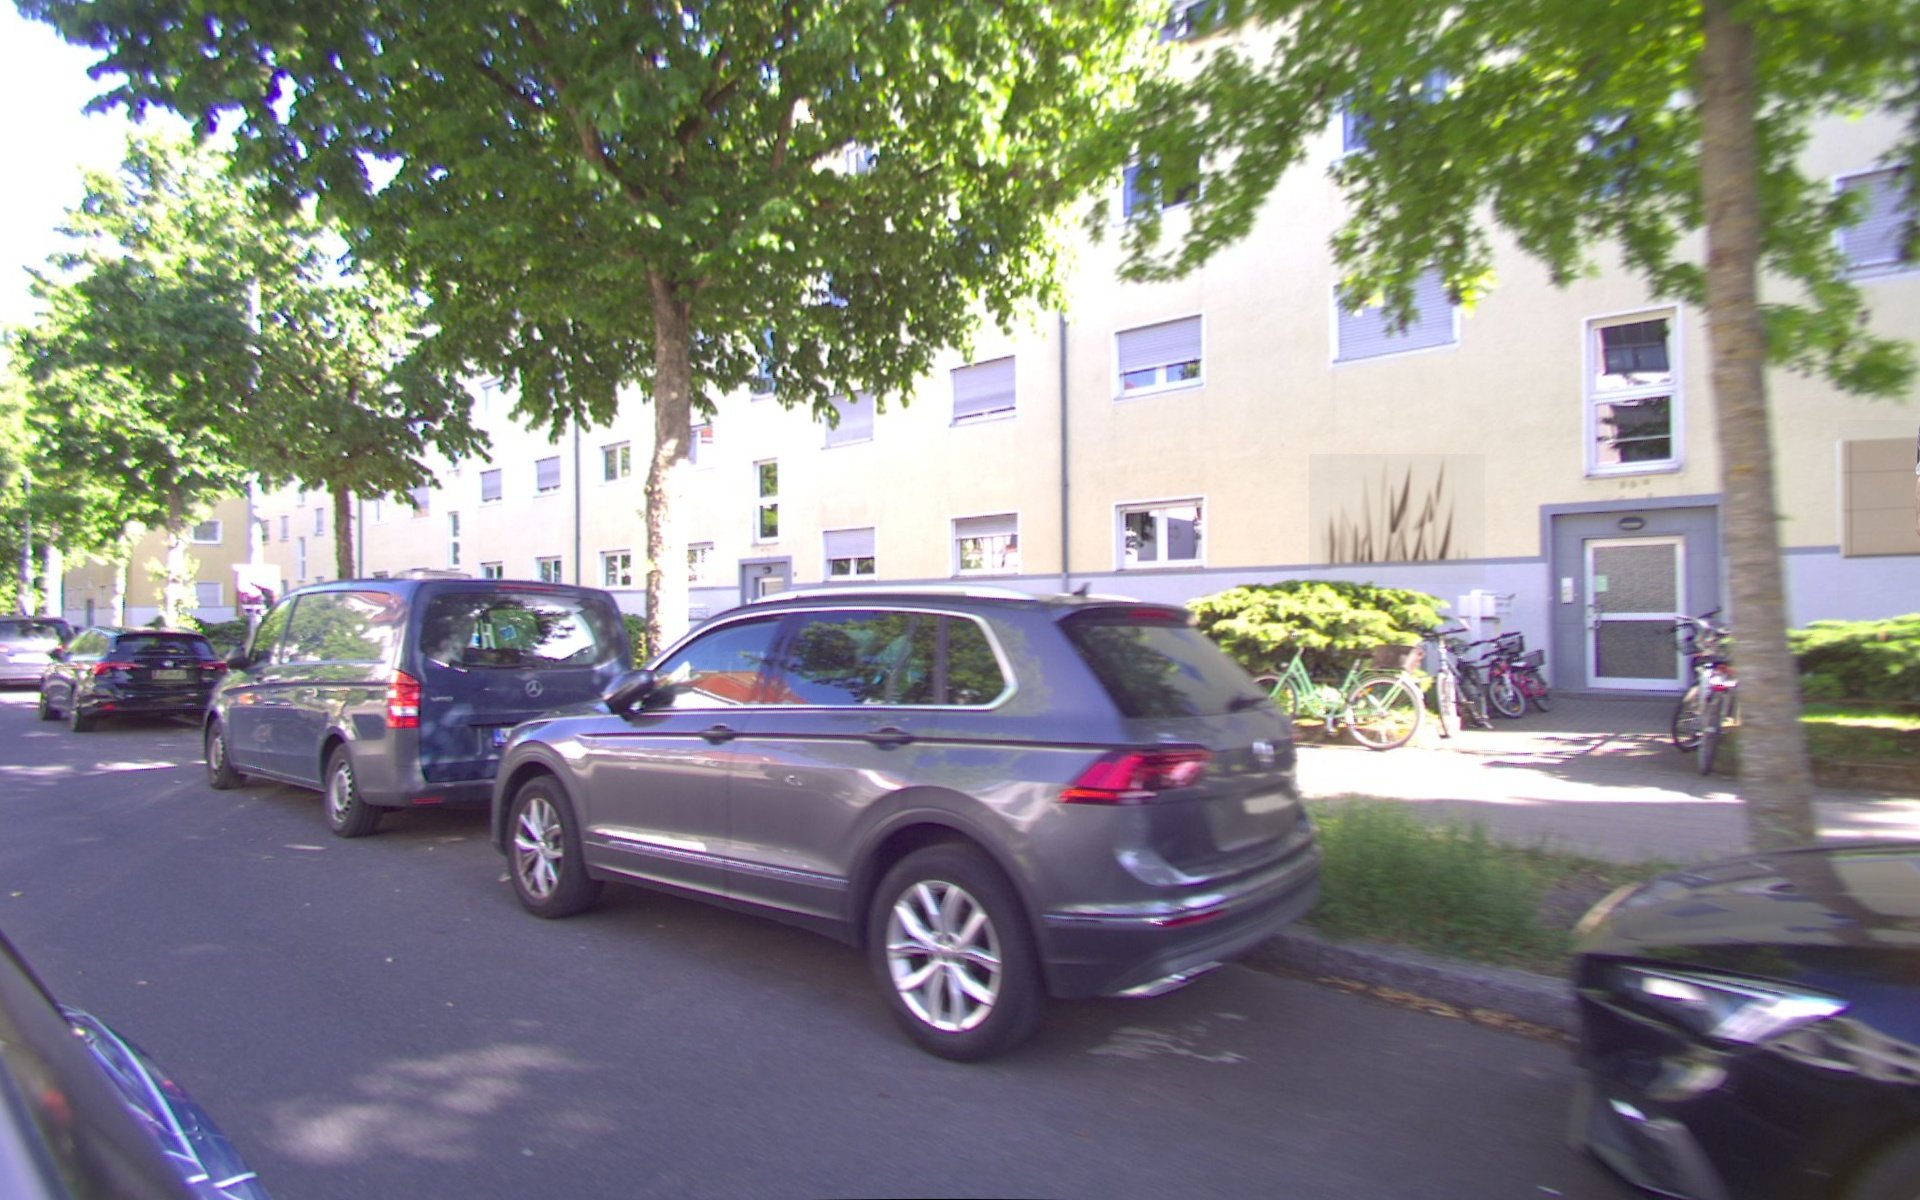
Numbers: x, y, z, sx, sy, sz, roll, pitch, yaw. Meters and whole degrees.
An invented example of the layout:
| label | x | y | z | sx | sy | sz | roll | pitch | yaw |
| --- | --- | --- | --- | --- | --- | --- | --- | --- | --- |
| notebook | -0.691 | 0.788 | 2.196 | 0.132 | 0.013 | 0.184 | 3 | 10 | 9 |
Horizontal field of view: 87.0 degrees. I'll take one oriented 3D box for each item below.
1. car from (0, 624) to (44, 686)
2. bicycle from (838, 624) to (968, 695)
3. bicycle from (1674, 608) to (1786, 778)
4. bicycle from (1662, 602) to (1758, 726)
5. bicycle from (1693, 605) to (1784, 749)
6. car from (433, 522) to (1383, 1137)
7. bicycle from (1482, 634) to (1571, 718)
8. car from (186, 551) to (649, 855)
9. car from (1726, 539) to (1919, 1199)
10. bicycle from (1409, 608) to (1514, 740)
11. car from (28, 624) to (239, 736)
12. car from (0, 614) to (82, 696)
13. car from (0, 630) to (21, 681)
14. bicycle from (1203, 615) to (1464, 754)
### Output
| label | x | y | z | sx | sy | sz | roll | pitch | yaw |
| --- | --- | --- | --- | --- | --- | --- | --- | --- | --- |
| car | -25.569 | 1.434 | 26.758 | 3.414 | 1.556 | 1.585 | -1 | -1 | 40 |
| bicycle | -0.814 | 0.791 | 13.989 | 1.901 | 0.923 | 0.589 | -1 | -2 | 39 |
| bicycle | 6.259 | 0.692 | 8.284 | 0.515 | 1.235 | 1.623 | -1 | -1 | 30 |
| bicycle | 8.296 | 0.651 | 11.192 | 0.776 | 1.235 | 1.933 | -1 | -1 | 37 |
| bicycle | 7.393 | 0.678 | 9.588 | 0.590 | 1.235 | 1.618 | -1 | -1 | 40 |
| car | -0.563 | 0.688 | 4.900 | 4.519 | 1.699 | 1.777 | -1 | -2 | 37 |
| bicycle | 6.782 | 0.872 | 12.085 | 0.585 | 0.876 | 1.691 | -1 | -1 | 41 |
| car | -4.755 | 0.693 | 8.496 | 4.863 | 1.864 | 1.775 | -1 | -2 | 41 |
| car | 3.769 | 0.603 | 1.197 | 4.485 | 1.463 | 1.775 | -1 | -2 | 40 |
| bicycle | 5.219 | 0.712 | 10.469 | 0.517 | 1.235 | 1.802 | -1 | -1 | 41 |
| car | -12.636 | 1.141 | 15.392 | 4.061 | 1.482 | 1.757 | -2 | -4 | 41 |
| car | -21.575 | 1.219 | 23.055 | 3.998 | 1.741 | 1.840 | -2 | -3 | 42 |
| car | -28.447 | 1.578 | 29.159 | 3.809 | 1.401 | 1.585 | -1 | -1 | 40 |
| bicycle | 3.505 | 0.757 | 9.672 | 2.258 | 1.199 | 0.589 | -1 | -2 | 39 |
